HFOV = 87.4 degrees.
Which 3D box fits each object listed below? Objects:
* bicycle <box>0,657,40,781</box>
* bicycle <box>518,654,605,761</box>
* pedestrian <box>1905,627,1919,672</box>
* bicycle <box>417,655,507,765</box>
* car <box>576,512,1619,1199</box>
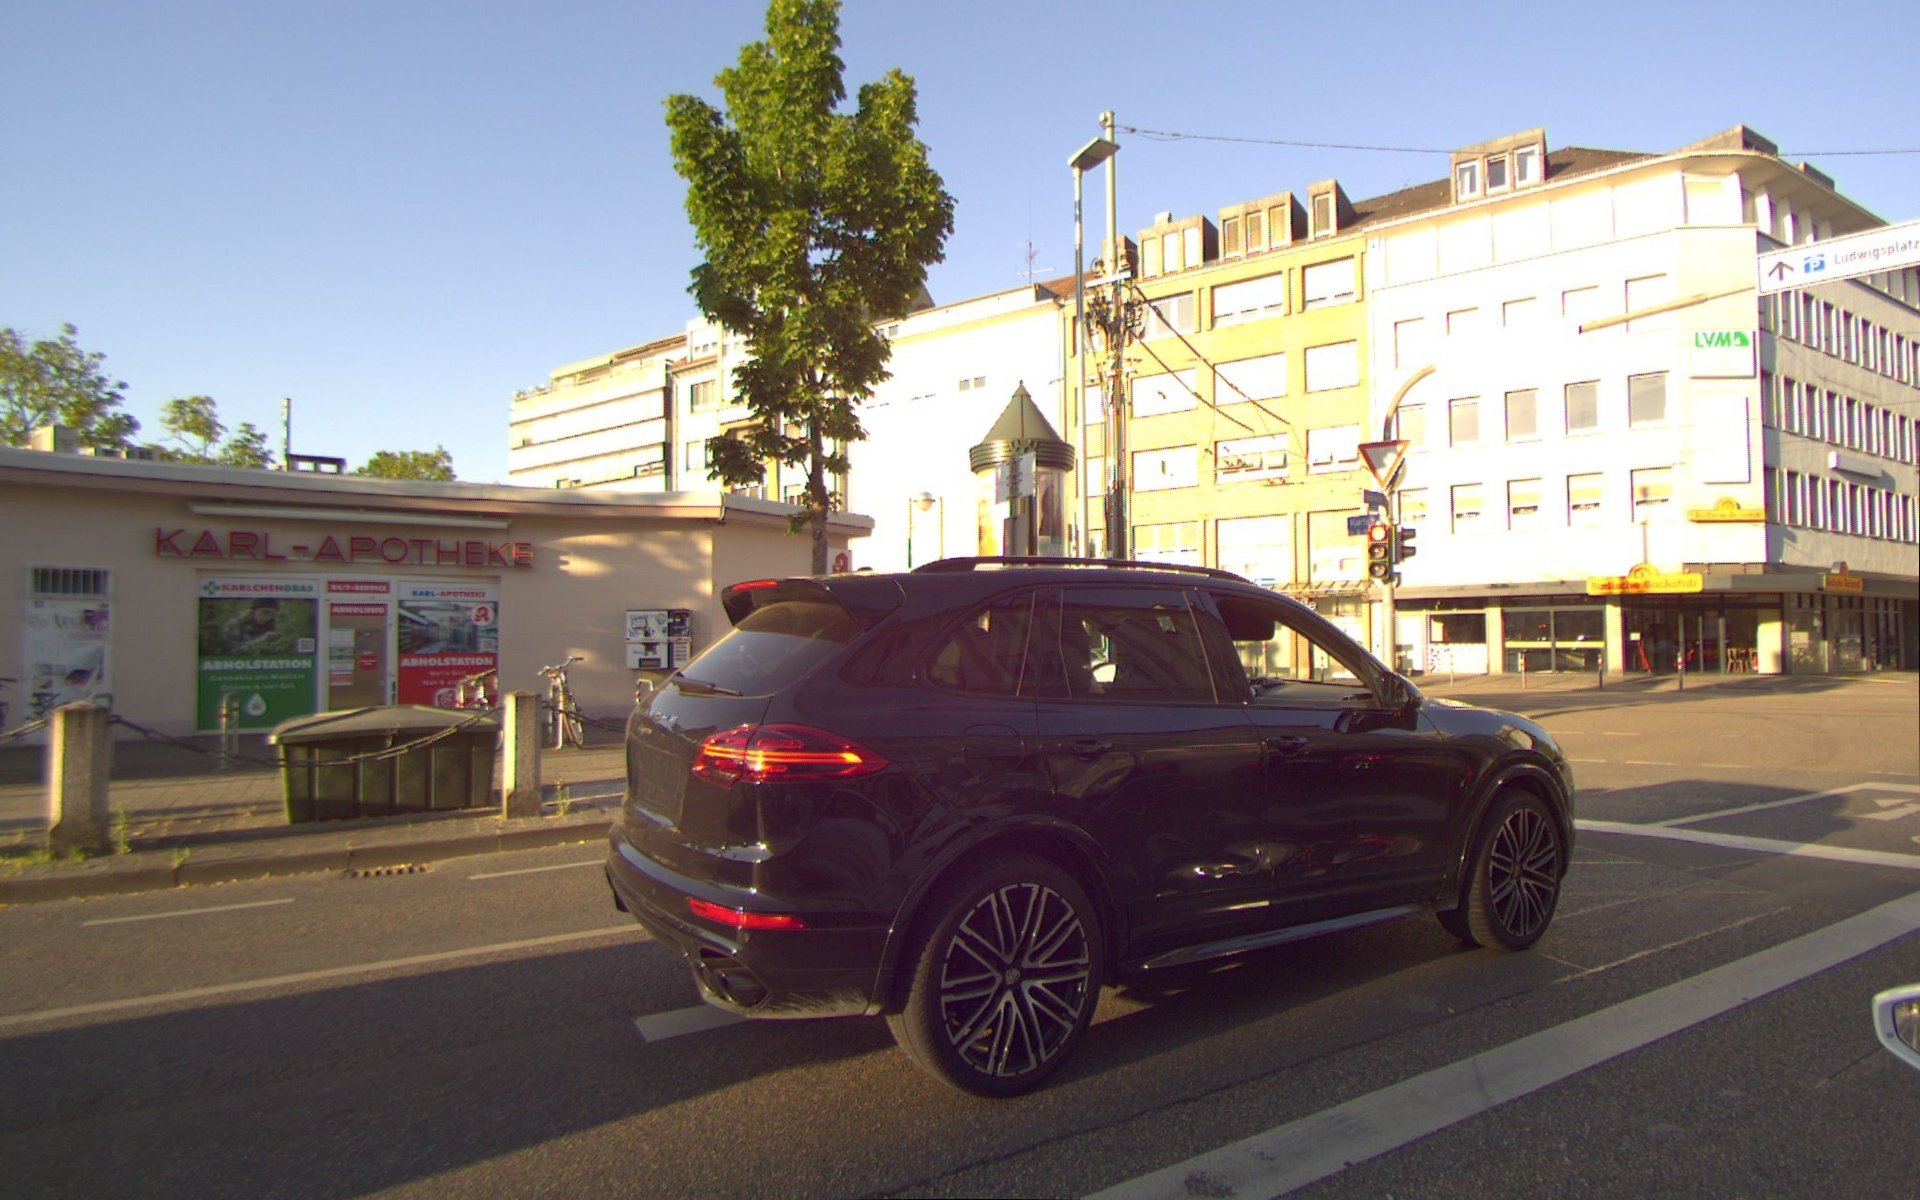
[{"bbox_3d":[-10.330,1.243,10.493,0.625,1.273,1.846,1,-3,-29],"label":"bicycle"},{"bbox_3d":[-5.388,1.376,13.483,0.778,1.273,2.433,1,-3,-29],"label":"bicycle"},{"bbox_3d":[36.611,1.876,38.144,0.862,1.698,0.819,1,-3,-32],"label":"pedestrian"},{"bbox_3d":[-6.443,1.351,12.944,0.938,1.273,1.997,1,-3,-29],"label":"bicycle"},{"bbox_3d":[0.805,0.717,4.569,4.511,1.736,1.939,1,-3,-32],"label":"car"}]
